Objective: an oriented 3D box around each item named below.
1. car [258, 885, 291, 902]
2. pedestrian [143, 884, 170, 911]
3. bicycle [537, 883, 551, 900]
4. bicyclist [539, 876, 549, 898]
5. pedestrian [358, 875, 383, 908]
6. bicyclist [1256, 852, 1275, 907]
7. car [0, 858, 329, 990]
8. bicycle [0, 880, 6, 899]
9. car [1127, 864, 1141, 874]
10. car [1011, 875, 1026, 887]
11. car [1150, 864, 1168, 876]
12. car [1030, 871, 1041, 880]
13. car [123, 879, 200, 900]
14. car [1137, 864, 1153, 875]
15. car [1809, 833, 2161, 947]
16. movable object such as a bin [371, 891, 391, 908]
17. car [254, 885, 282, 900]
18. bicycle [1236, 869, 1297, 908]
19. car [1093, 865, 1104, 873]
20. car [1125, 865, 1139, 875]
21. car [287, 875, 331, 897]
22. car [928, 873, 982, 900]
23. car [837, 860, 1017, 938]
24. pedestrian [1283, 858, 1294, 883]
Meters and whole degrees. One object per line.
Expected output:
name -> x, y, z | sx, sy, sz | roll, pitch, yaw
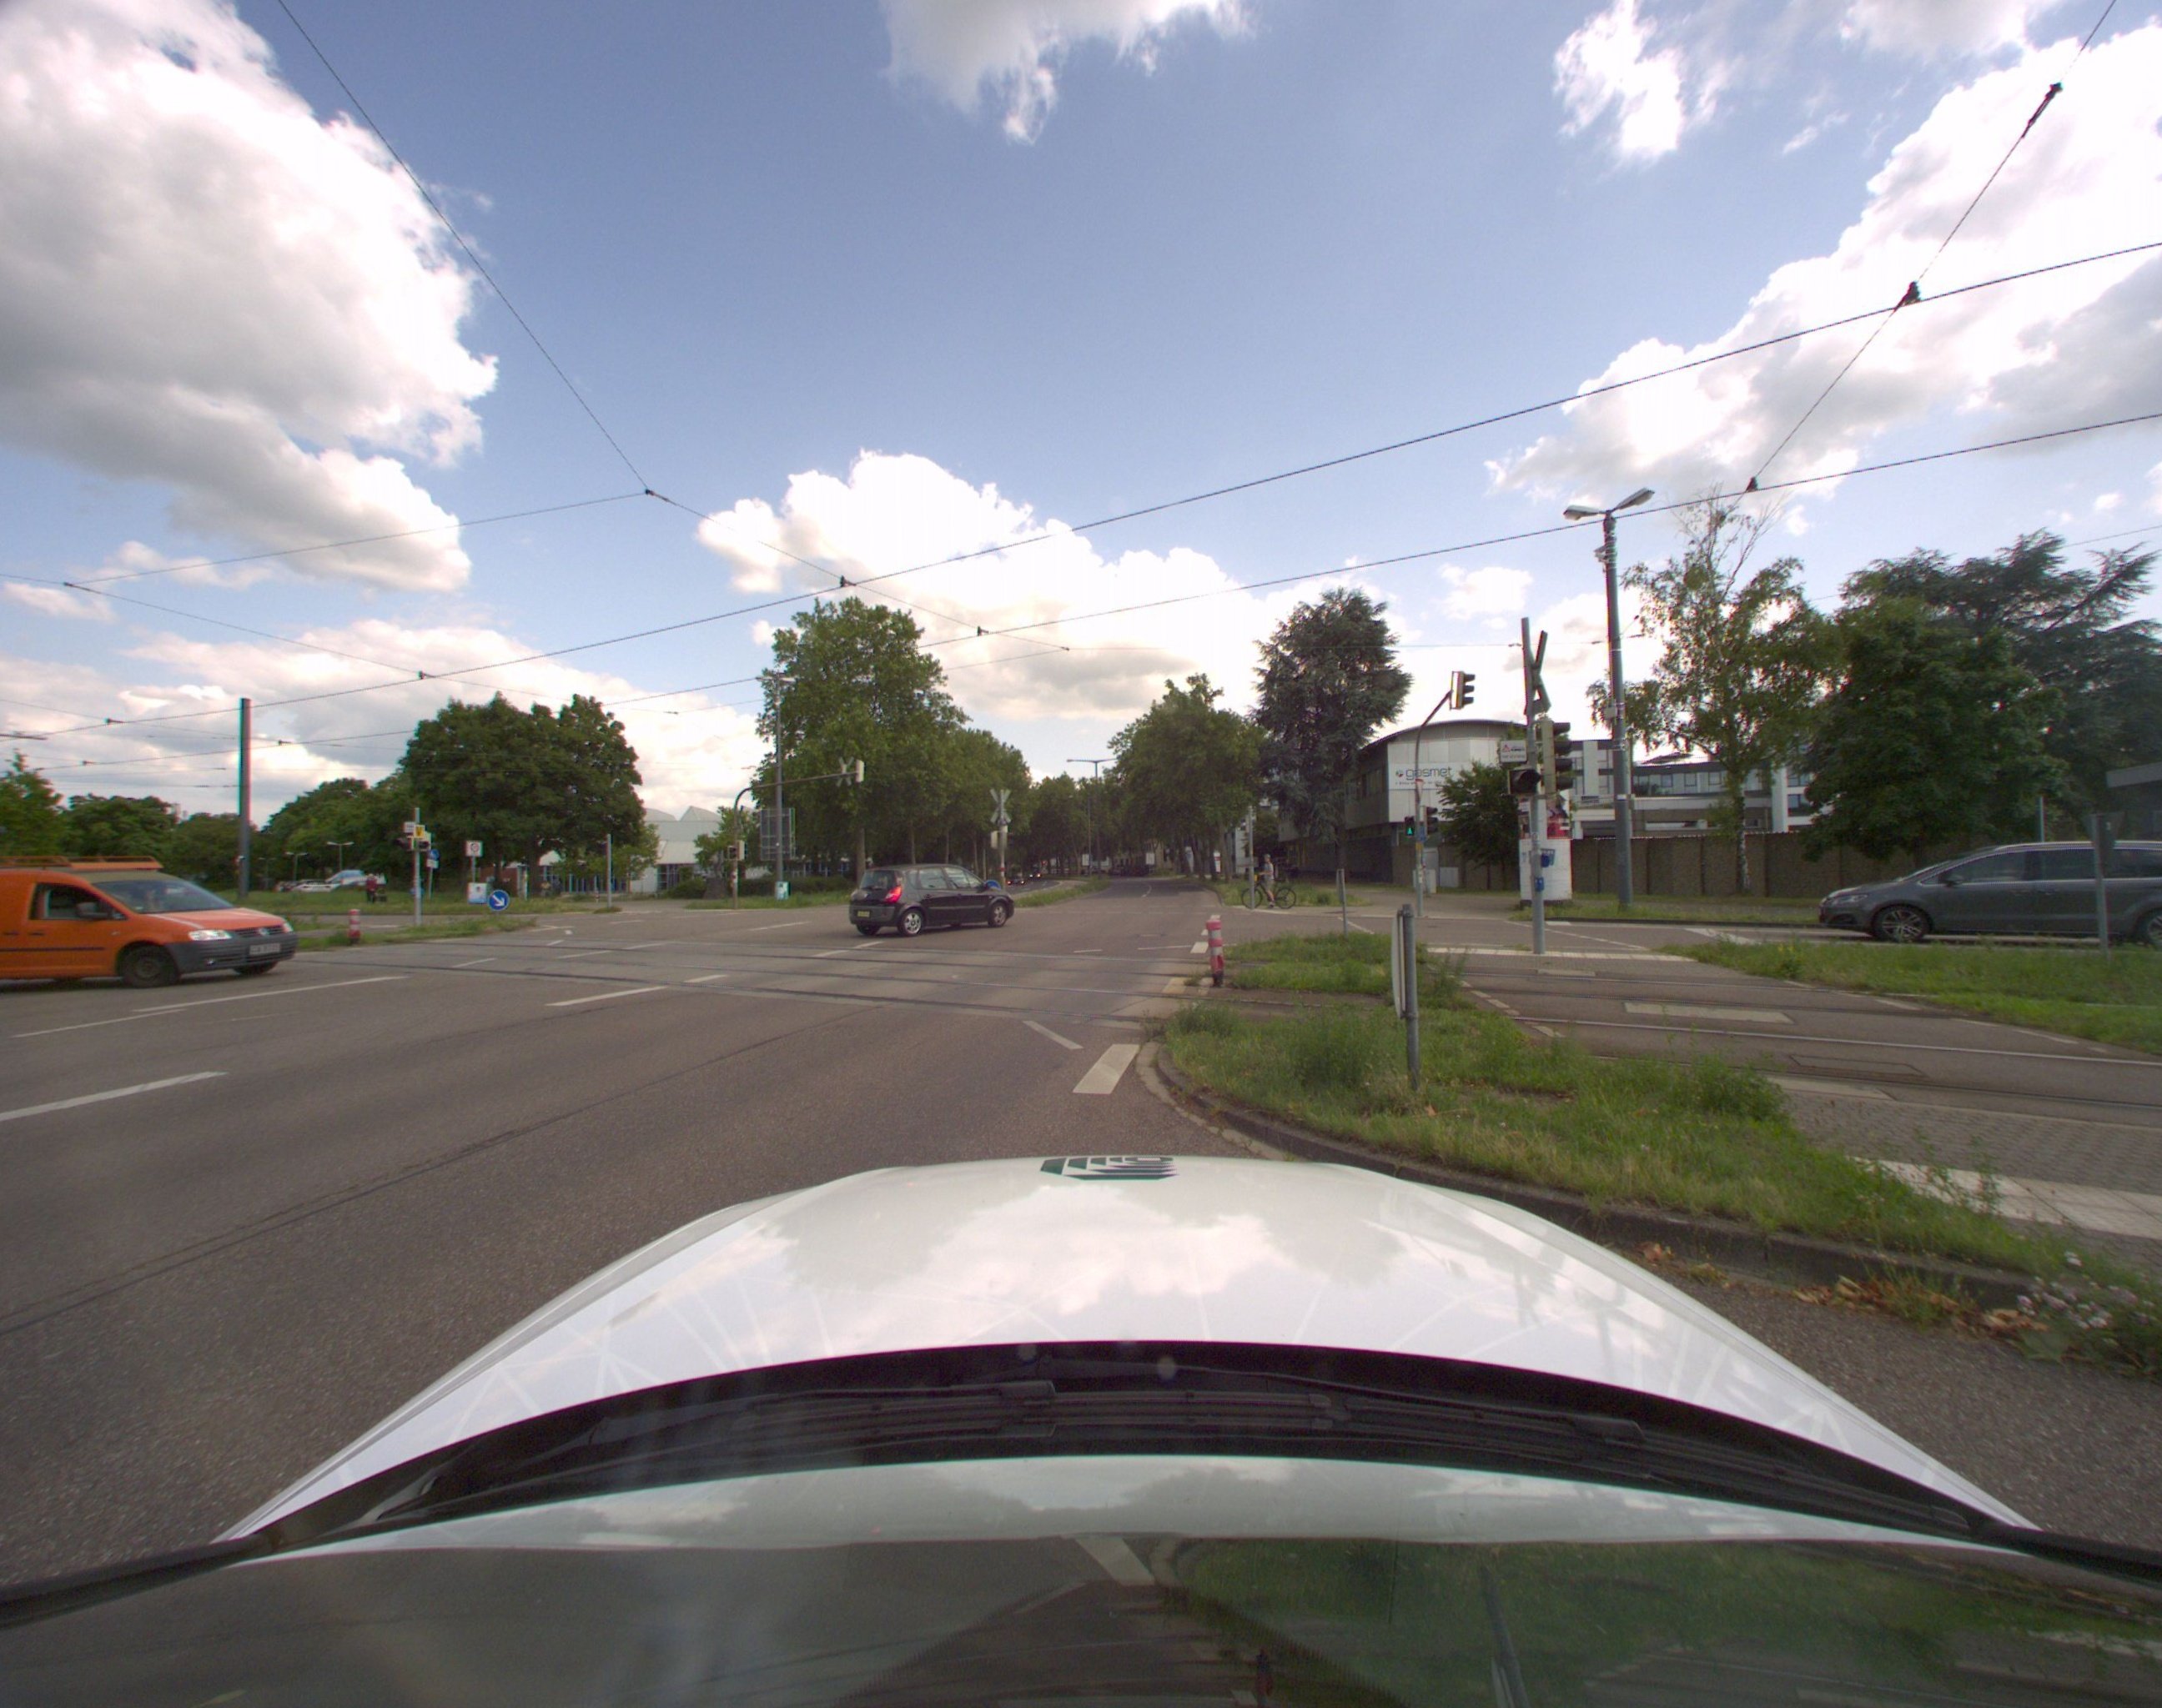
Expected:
car -> -83.580, 4.088, 84.361 | 4.334, 1.640, 2.012 | -2, -1, 40
pedestrian -> -49.667, 2.339, 43.743 | 0.744, 1.354, 0.654 | -1, 1, 14
bicycle -> -37.402, 2.608, 56.721 | 0.565, 1.130, 1.363 | 0, -1, -42
bicyclist -> -37.410, 2.290, 56.734 | 0.490, 1.554, 0.549 | 2, -3, -42
pedestrian -> -35.762, 1.884, 41.005 | 0.634, 1.644, 0.613 | -2, 1, 0
bicyclist -> 6.147, 0.855, 27.161 | 0.539, 1.809, 0.543 | -1, 1, 18
car -> -14.635, 1.008, 12.431 | 4.348, 1.800, 1.881 | -1, -1, -5
bicycle -> -60.112, 1.968, 44.336 | 1.970, 1.040, 0.952 | -1, -1, 2
car -> 9.582, 2.714, 148.175 | 1.989, 1.574, 3.996 | -2, 1, -3
car -> -7.251, 3.101, 94.027 | 1.632, 1.192, 3.701 | -1, -1, -5
car -> 11.228, 2.276, 117.179 | 1.989, 1.574, 3.996 | -2, 1, -3
car -> -7.619, 3.519, 136.272 | 1.653, 1.271, 3.766 | -2, 1, -4
car -> -73.399, 2.834, 65.068 | 1.974, 1.530, 4.025 | -2, -1, 40
car -> 10.153, 2.412, 129.091 | 1.989, 1.574, 3.996 | -2, 1, -3
car -> 15.819, 0.584, 14.014 | 4.679, 1.722, 2.013 | -2, -1, 36
movable object such as a bin -> -35.256, 2.297, 41.007 | 0.456, 0.811, 0.579 | -2, 1, 1
car -> -98.410, 4.648, 98.563 | 4.334, 1.640, 2.012 | -2, -1, 40
bicycle -> 6.180, 1.157, 27.152 | 1.930, 1.235, 0.543 | -1, 1, 17
car -> 3.798, 3.337, 177.152 | 1.989, 1.574, 3.996 | -2, 1, -3
car -> 8.613, 2.690, 137.392 | 1.989, 1.574, 3.996 | -2, 1, -3
car -> -60.218, 2.492, 63.474 | 4.334, 1.640, 2.012 | -2, -1, 40
car -> -6.756, 1.732, 44.150 | 1.815, 1.364, 4.145 | -1, -1, 7
car -> -3.545, 0.985, 19.395 | 1.713, 1.630, 4.078 | -2, -1, 38
pedestrian -> 13.503, 1.061, 52.994 | 0.617, 1.569, 0.560 | -1, 1, 8
